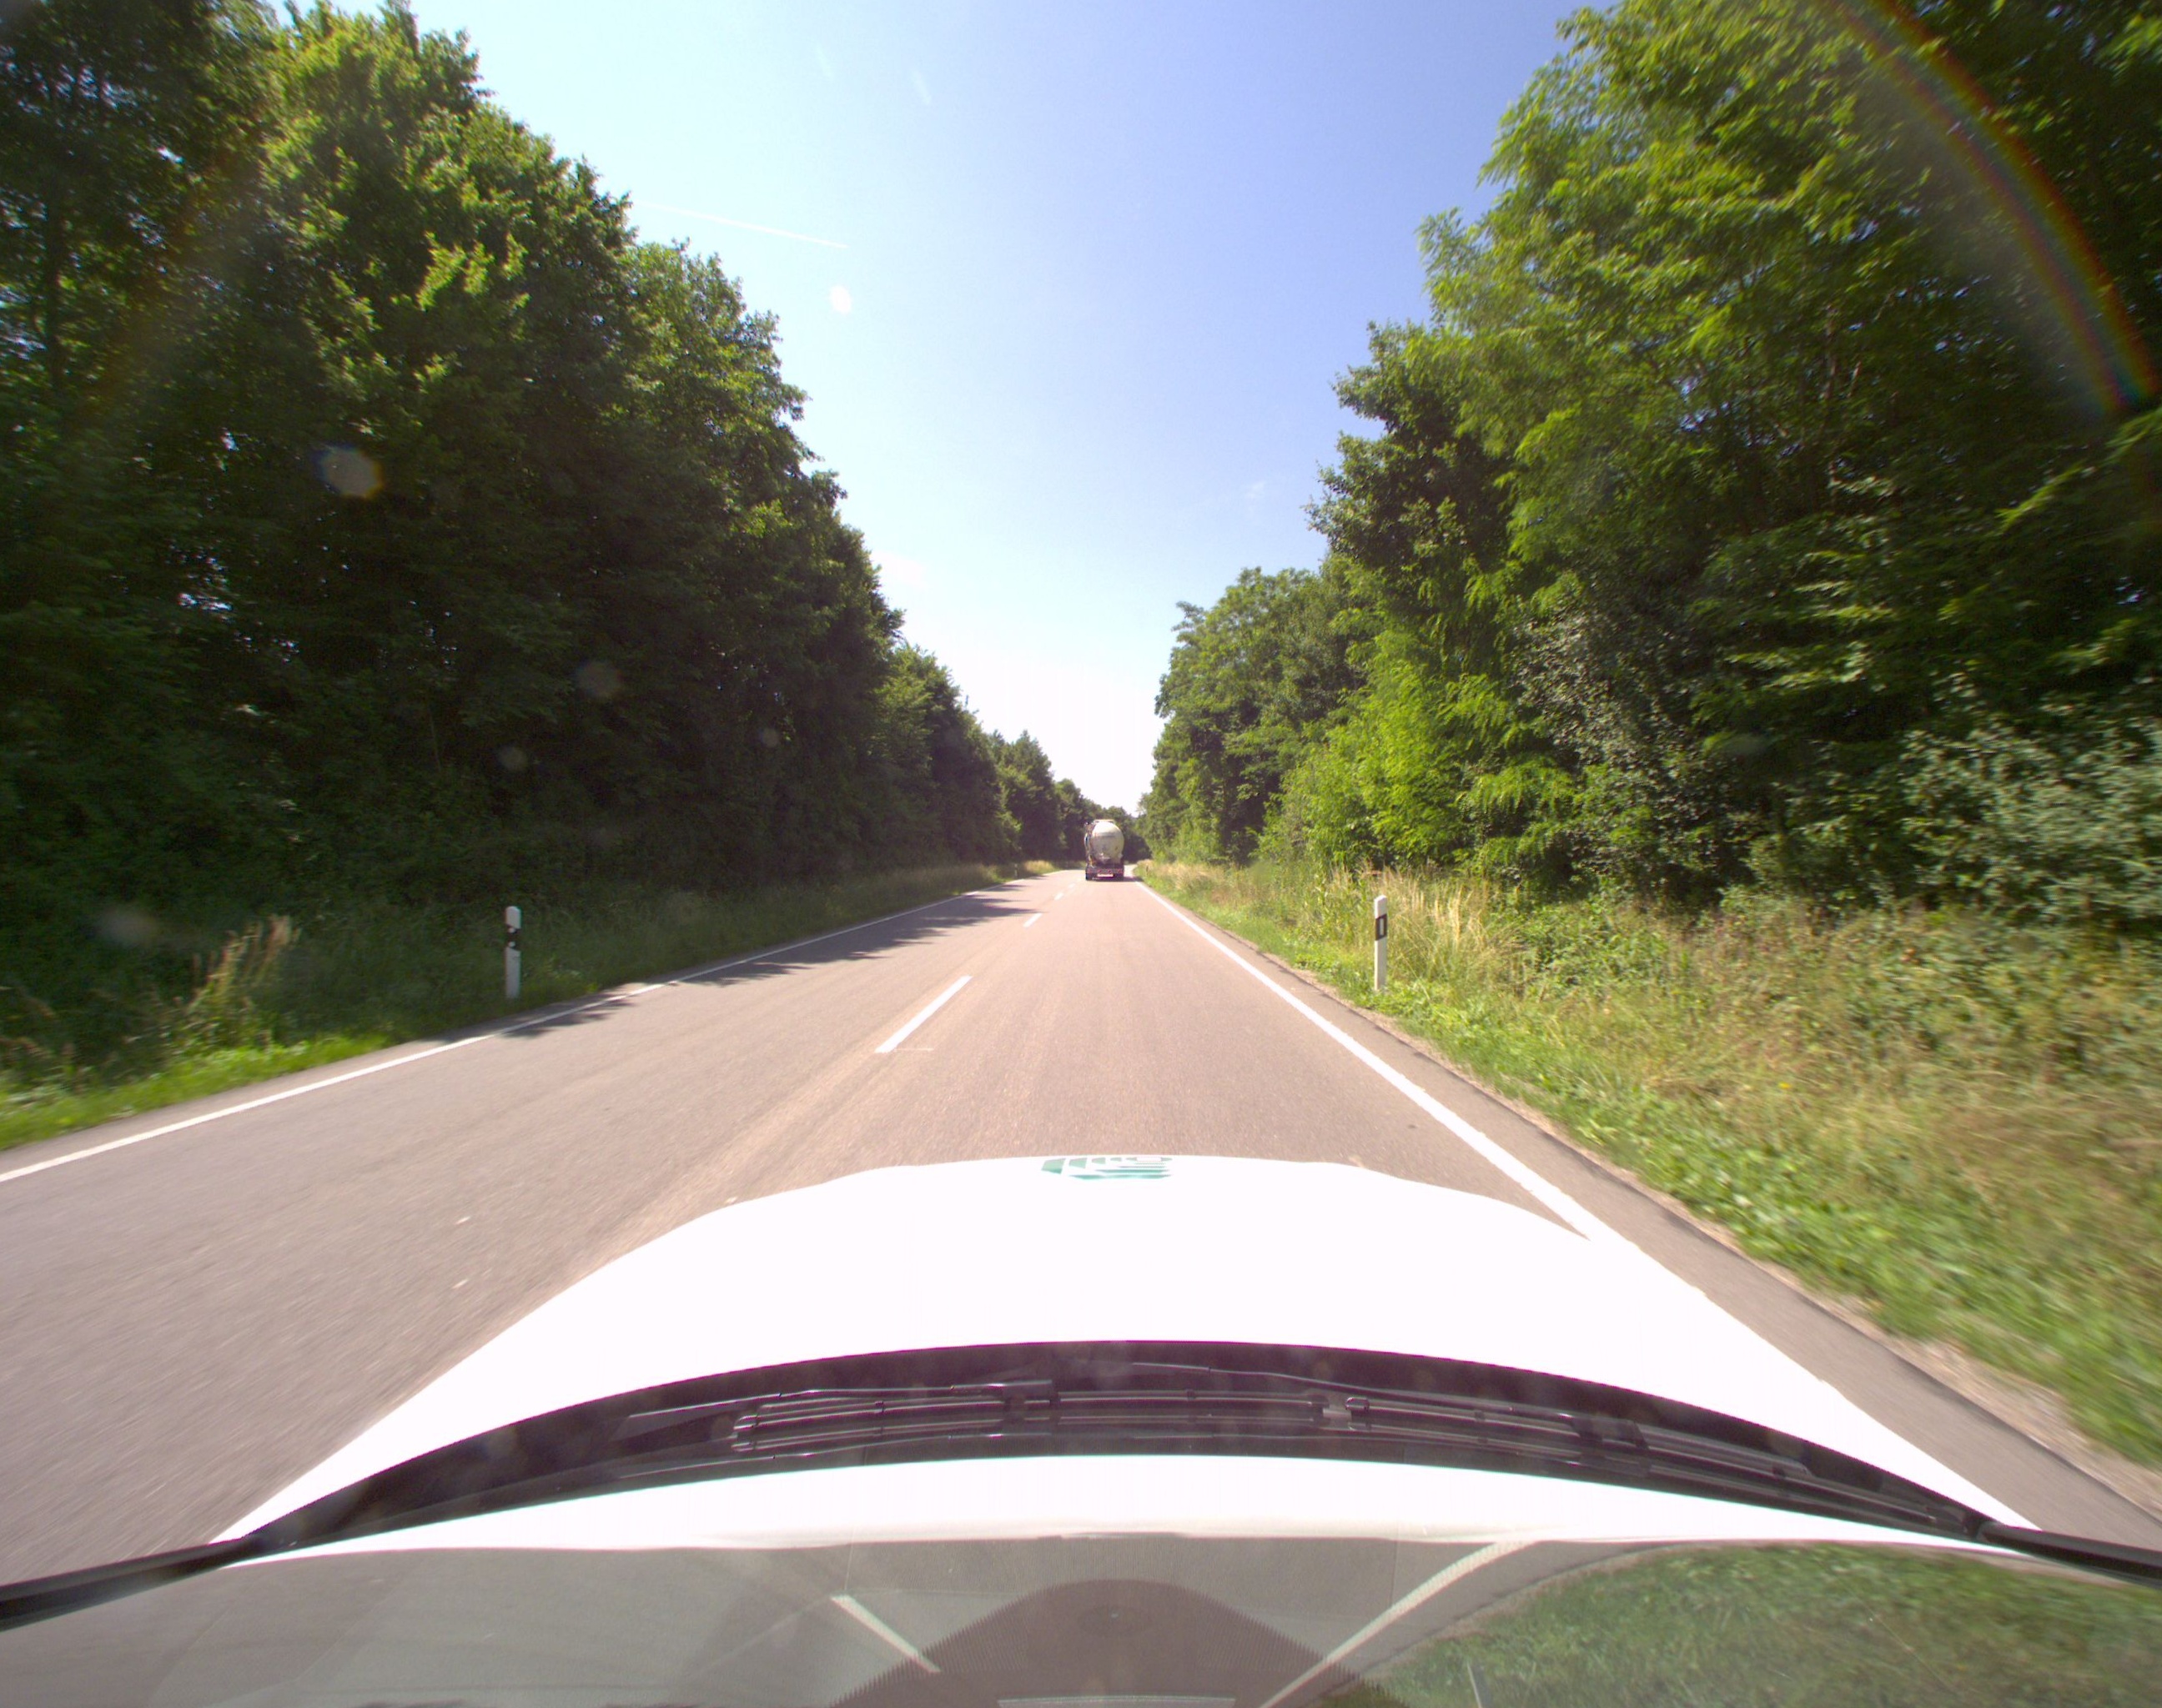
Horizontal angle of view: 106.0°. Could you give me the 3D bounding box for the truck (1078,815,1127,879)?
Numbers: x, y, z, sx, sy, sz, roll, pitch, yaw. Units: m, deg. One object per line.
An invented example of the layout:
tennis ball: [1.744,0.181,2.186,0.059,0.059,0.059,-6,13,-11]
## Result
truck: [1.534,-0.383,58.754,3.038,3.998,15.640,1,0,1]
